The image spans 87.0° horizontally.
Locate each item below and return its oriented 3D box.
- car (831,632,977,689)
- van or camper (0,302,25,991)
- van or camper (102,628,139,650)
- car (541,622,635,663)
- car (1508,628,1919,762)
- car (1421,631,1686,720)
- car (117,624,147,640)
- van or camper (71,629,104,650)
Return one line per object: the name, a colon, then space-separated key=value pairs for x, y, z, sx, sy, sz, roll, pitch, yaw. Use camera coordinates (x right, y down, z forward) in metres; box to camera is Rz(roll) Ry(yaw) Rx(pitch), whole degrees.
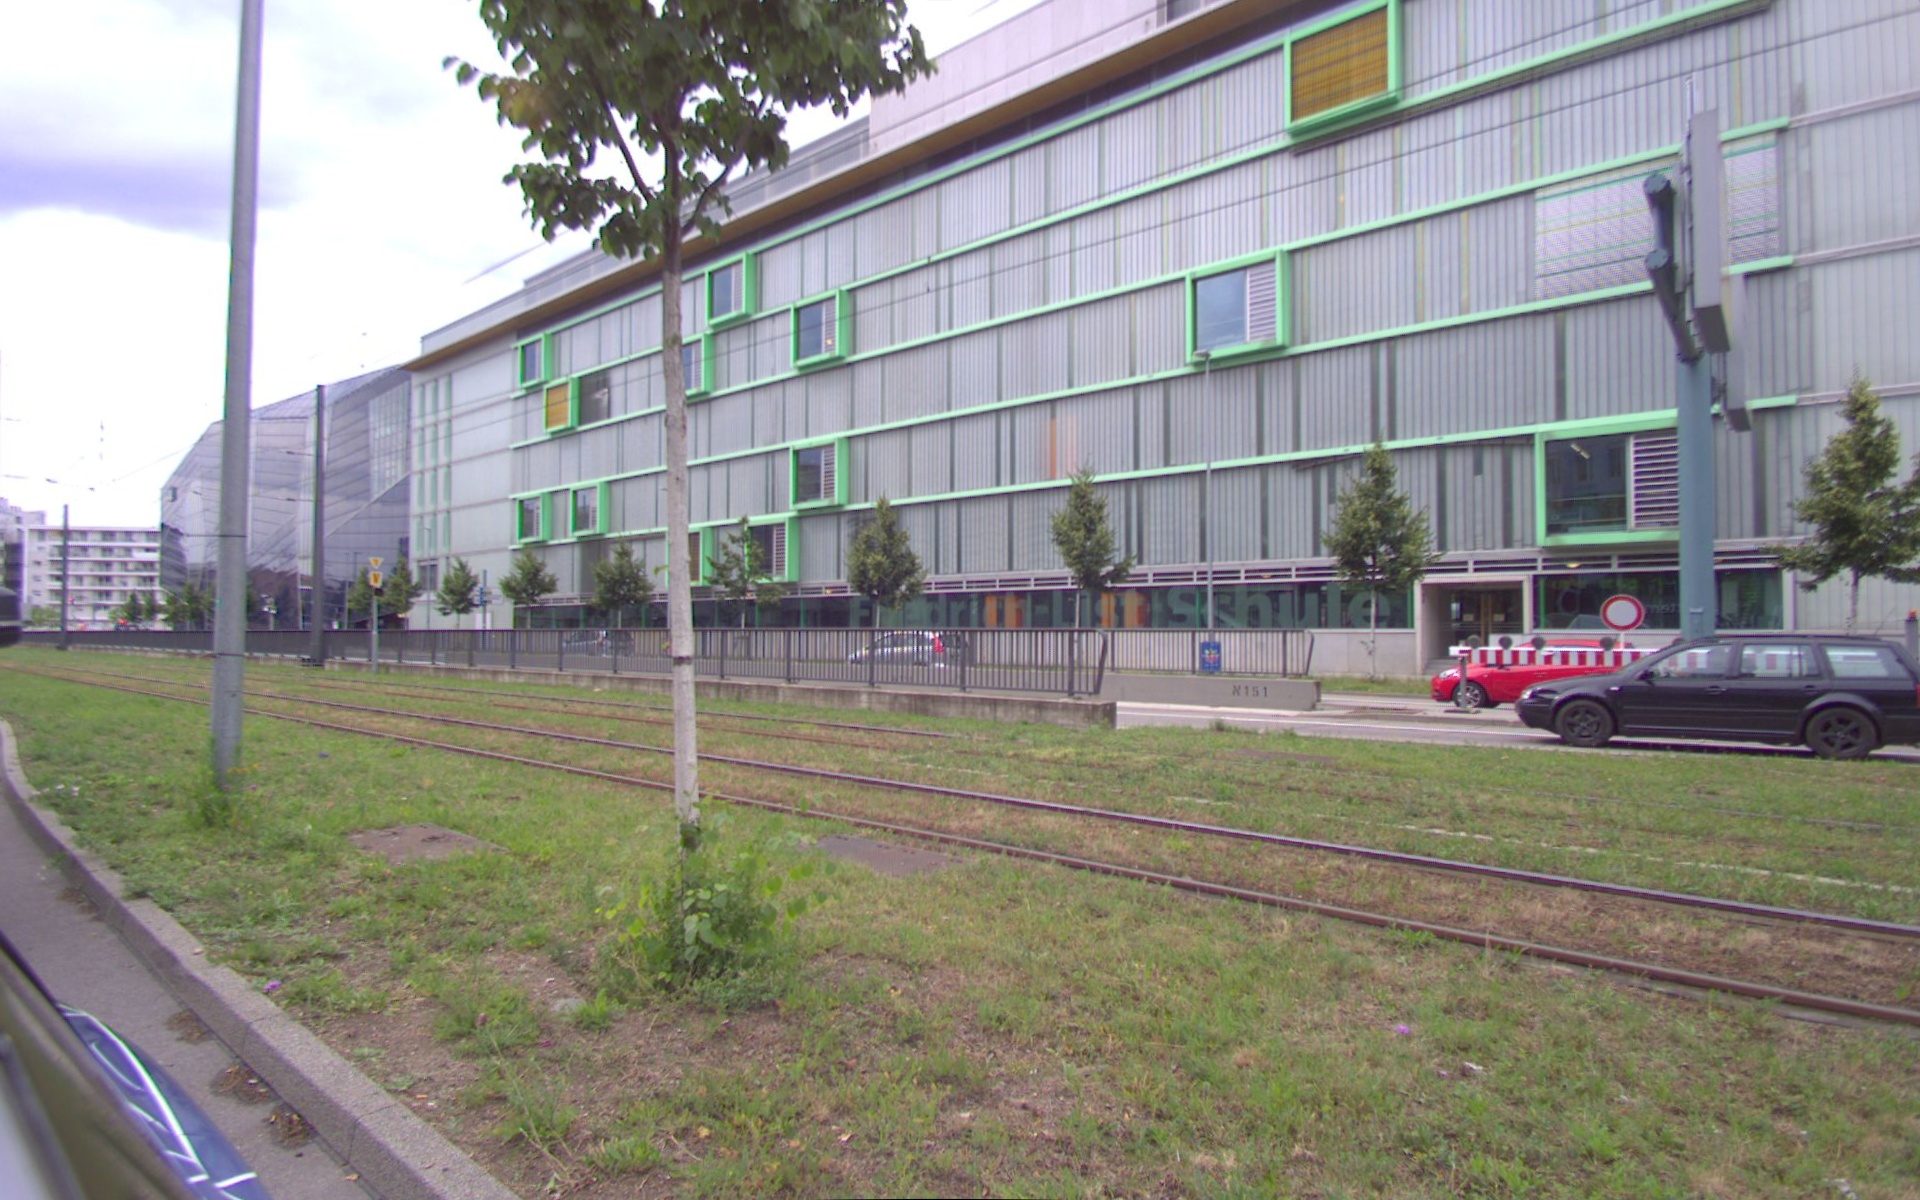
car: x=-1.813 y=1.824 z=31.639 sx=4.670 sy=1.656 sz=1.704 roll=-2 pitch=-2 yaw=39
van or camper: x=-6.153 y=0.215 z=4.736 sx=5.037 sy=2.607 sz=2.017 roll=-2 pitch=-2 yaw=40
van or camper: x=-88.304 y=4.082 z=106.406 sx=5.356 sy=2.304 sz=2.150 roll=-2 pitch=-3 yaw=41
car: x=-16.302 y=1.804 z=44.238 sx=4.574 sy=1.582 sz=1.779 roll=0 pitch=1 yaw=39
car: x=9.550 y=1.093 z=12.481 sx=4.736 sy=1.438 sz=1.648 roll=-1 pitch=-4 yaw=36
car: x=11.749 y=1.428 z=20.190 sx=4.324 sy=1.583 sz=1.778 roll=-2 pitch=-2 yaw=40
car: x=-92.927 y=3.580 z=113.599 sx=4.766 sy=1.605 sz=1.972 roll=-4 pitch=-4 yaw=43
van or camper: x=-101.662 y=4.630 z=117.885 sx=6.503 sy=2.304 sz=2.150 roll=-2 pitch=-2 yaw=42
